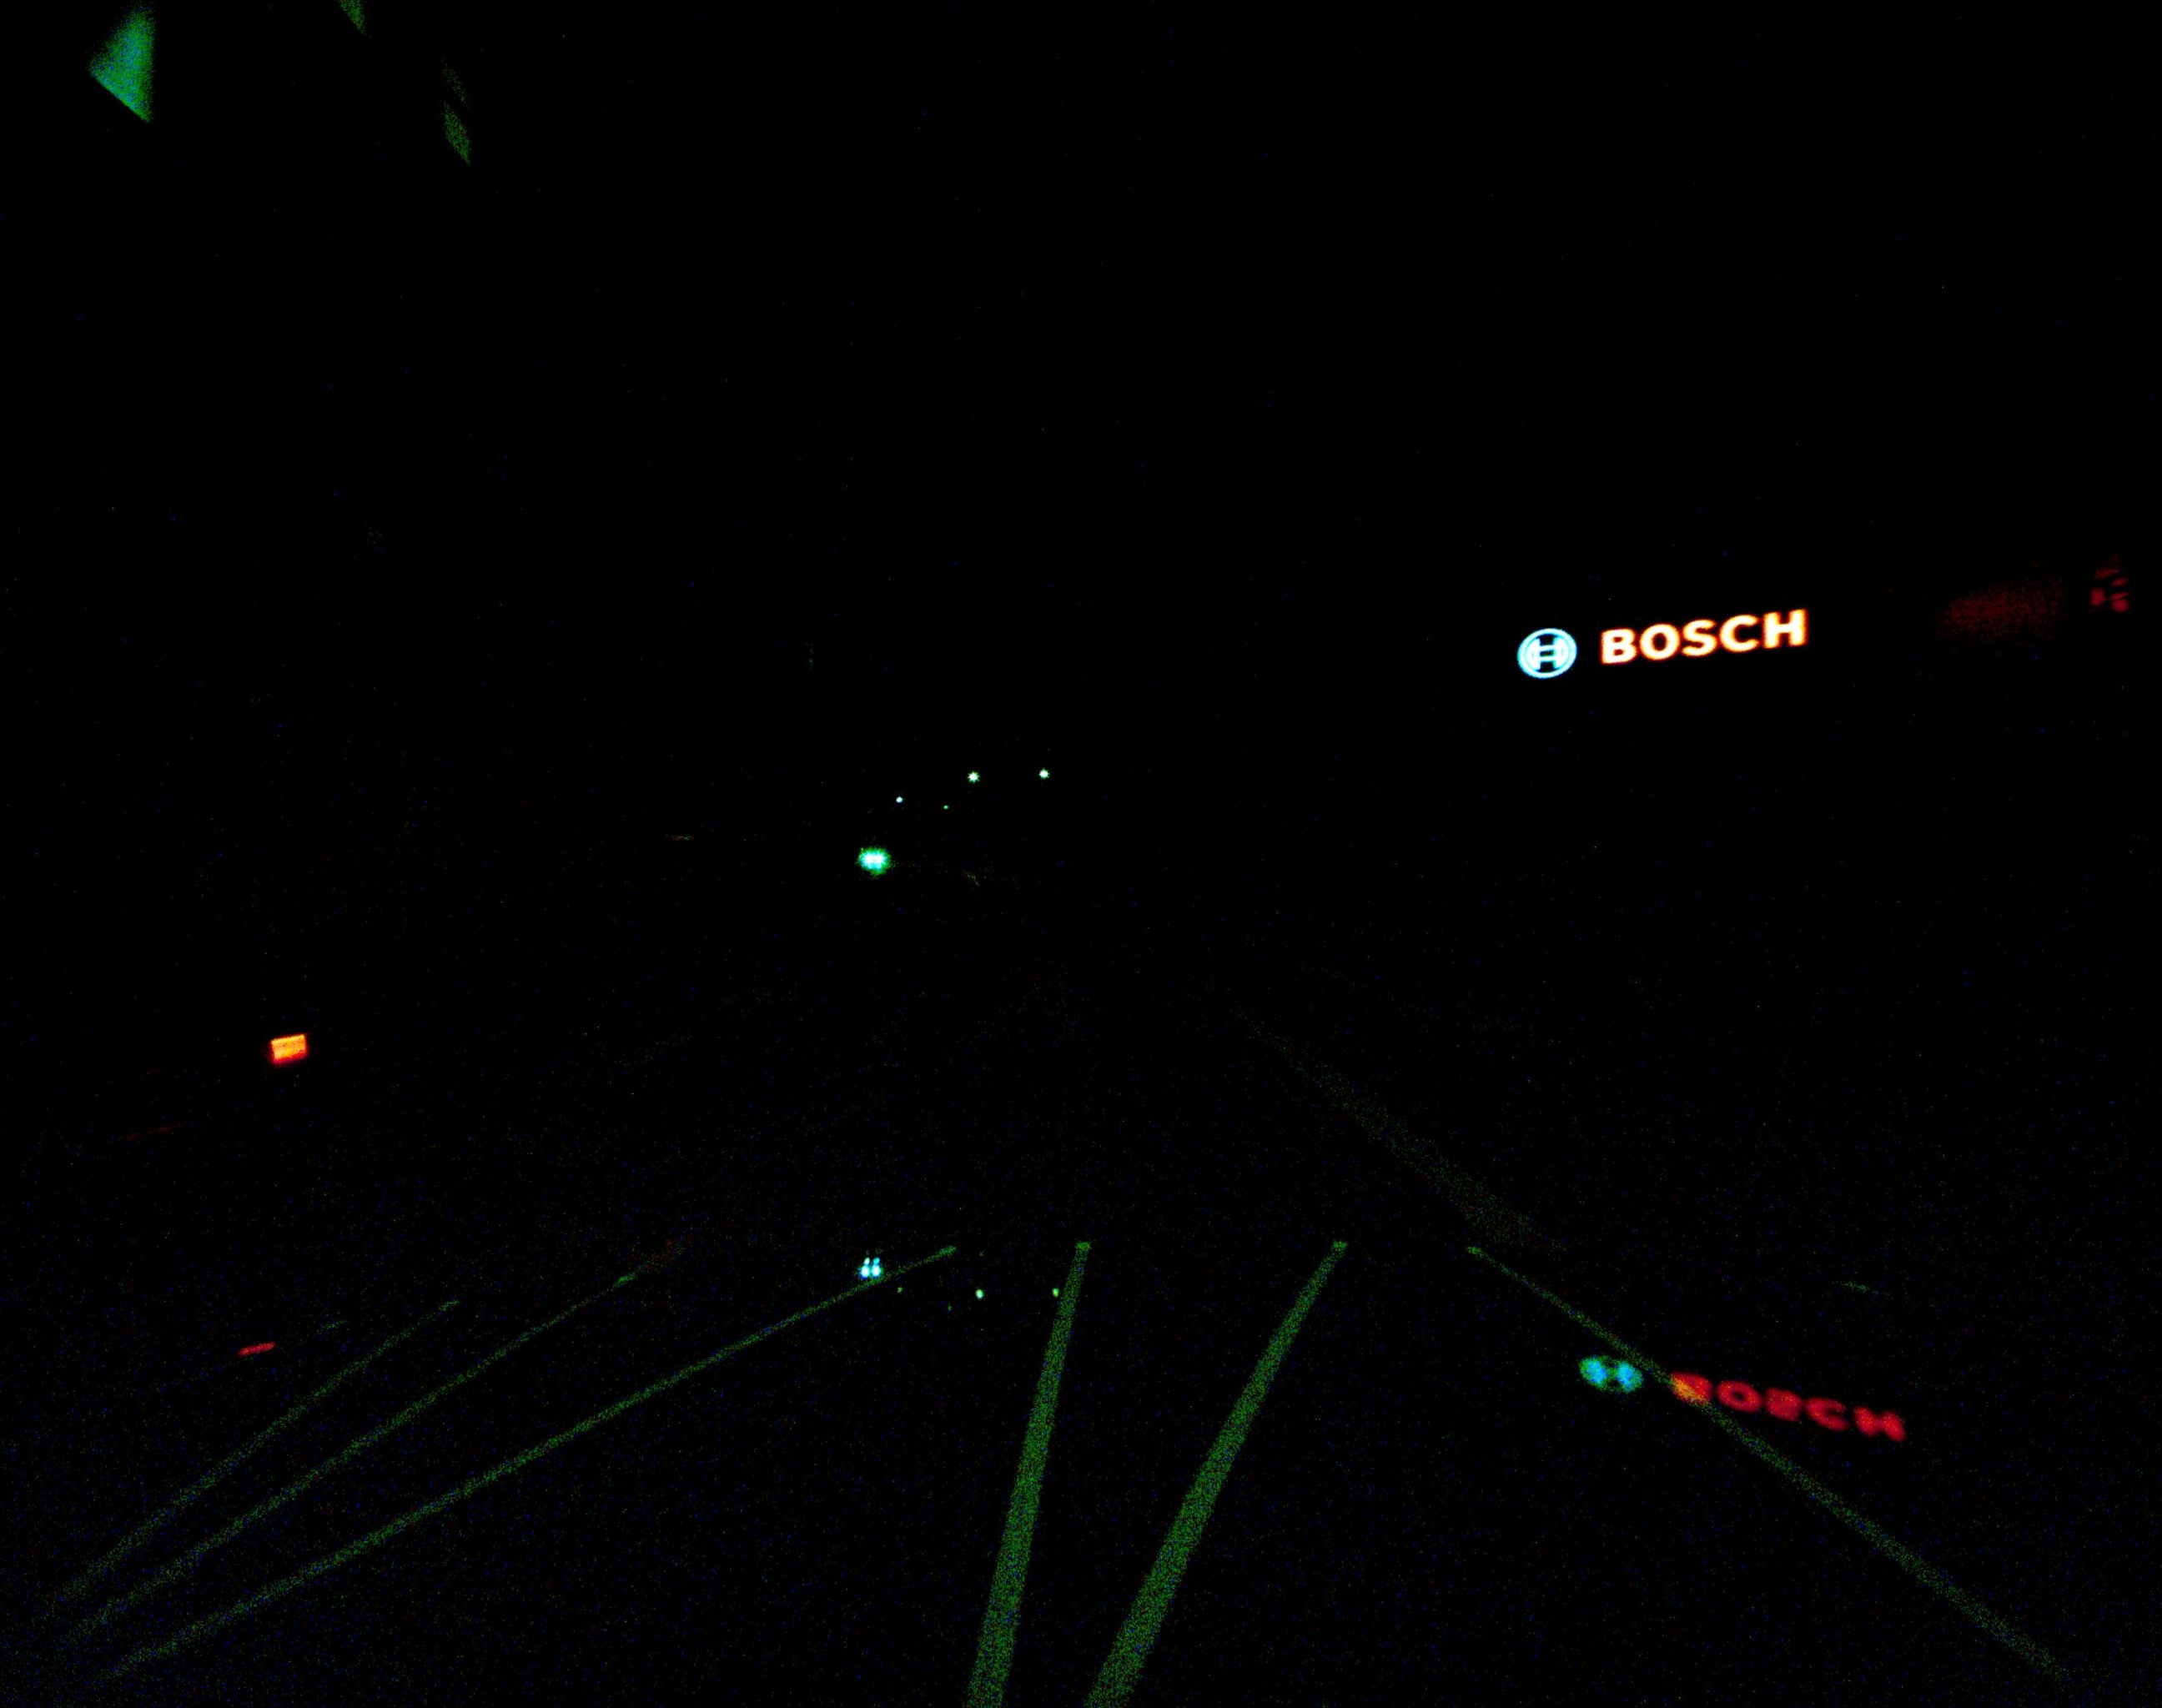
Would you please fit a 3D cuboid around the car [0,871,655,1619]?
[{"bbox_3d":[-3.556,0.952,2.704,1.999,1.607,3.998,-1,1,-4],"label":"car"}]
